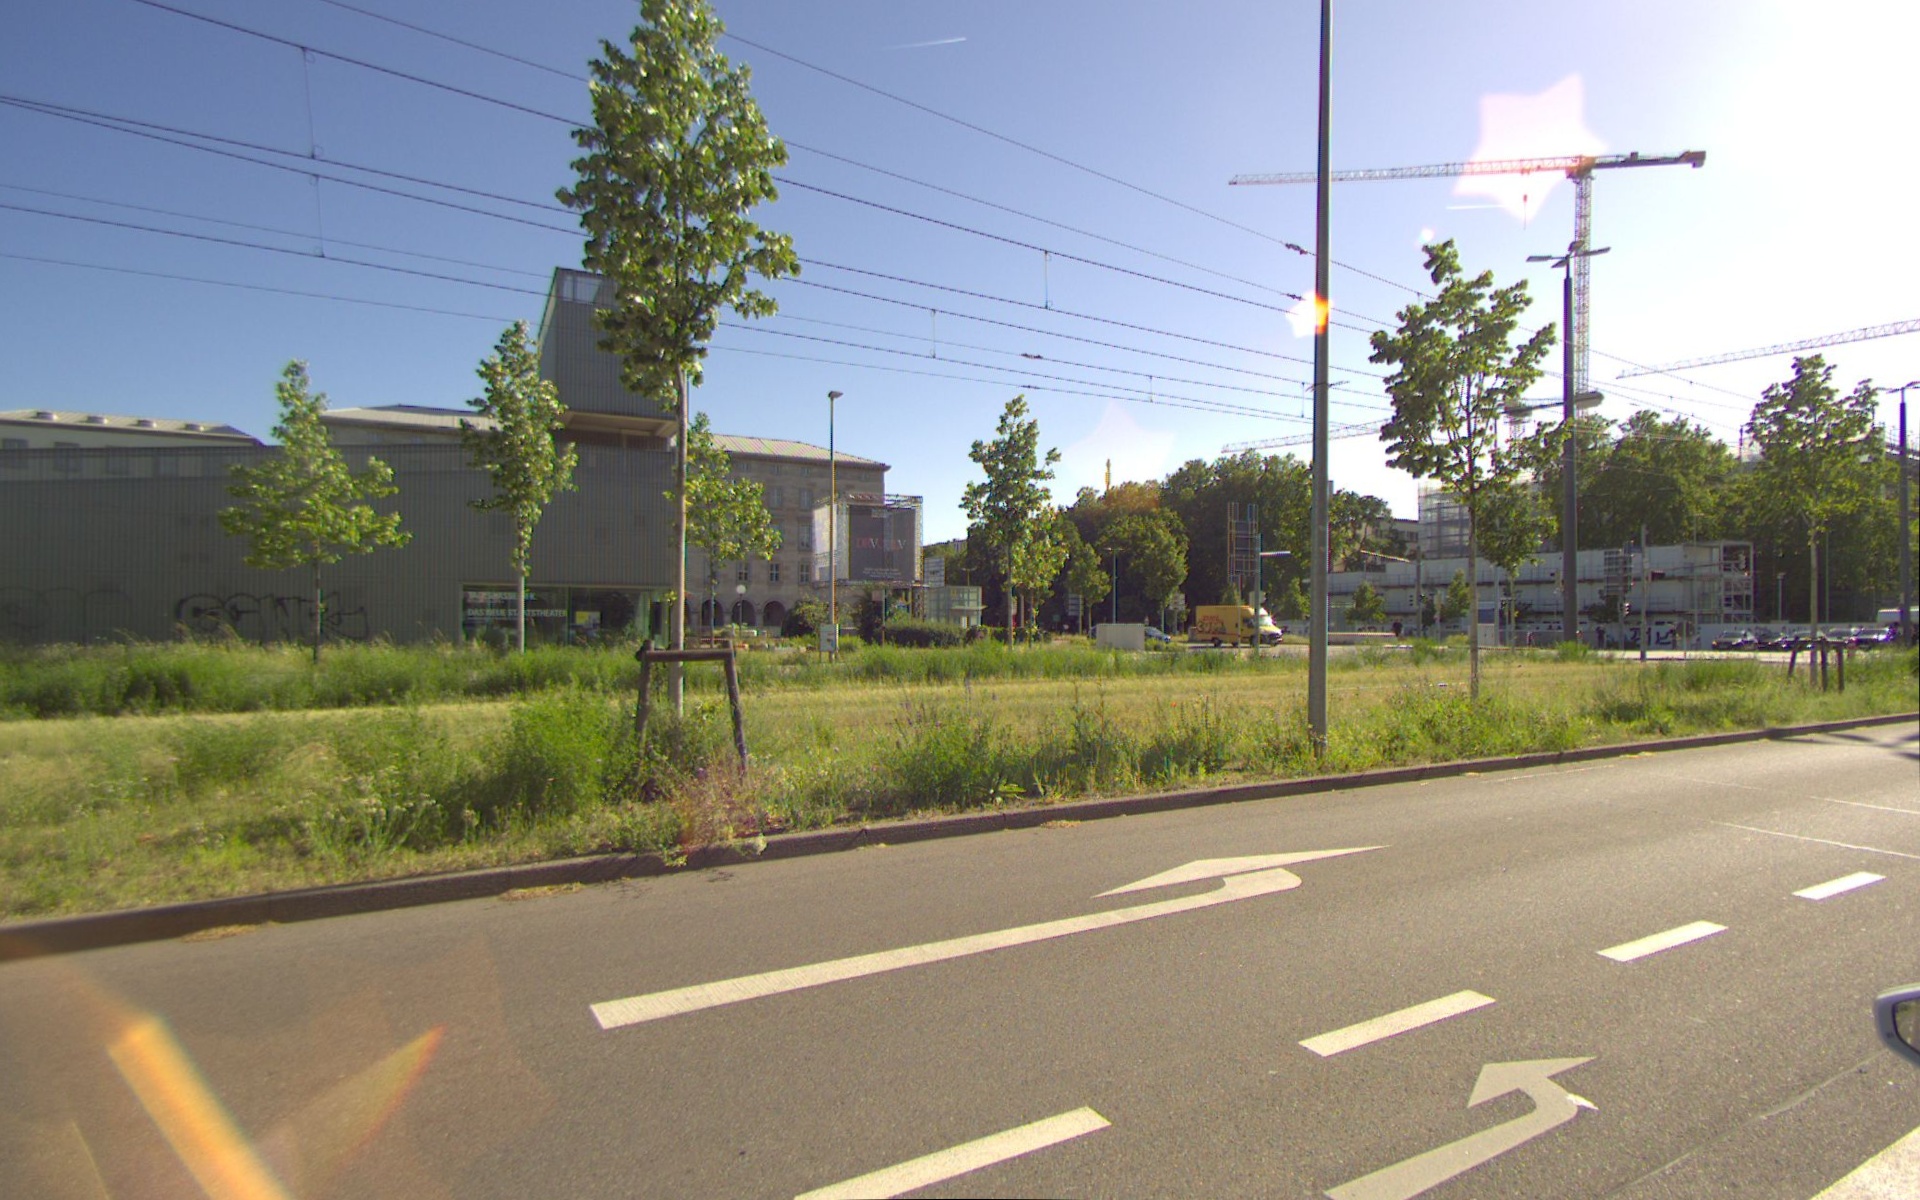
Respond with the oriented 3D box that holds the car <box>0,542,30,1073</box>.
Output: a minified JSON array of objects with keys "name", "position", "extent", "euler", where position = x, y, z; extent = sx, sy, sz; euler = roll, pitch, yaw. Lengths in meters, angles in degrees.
[{"name":"car","position":[-4.407,0.624,1.523],"extent":[4.106,1.644,1.735],"euler":[1,0,-32]}]

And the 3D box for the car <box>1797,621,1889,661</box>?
[{"name":"car","position":[29.145,1.358,33.152],"extent":[3.184,1.194,1.369],"euler":[2,0,-31]}]

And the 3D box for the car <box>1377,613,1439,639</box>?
[{"name":"car","position":[29.092,1.682,65.236],"extent":[3.953,1.577,1.702],"euler":[2,0,-30]}]

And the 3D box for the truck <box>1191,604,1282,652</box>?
[{"name":"truck","position":[19.177,1.899,70.150],"extent":[1.973,3.002,6.941],"euler":[2,0,-25]}]

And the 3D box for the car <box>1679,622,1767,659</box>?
[{"name":"car","position":[26.847,1.422,35.333],"extent":[3.184,1.194,1.369],"euler":[2,0,-31]}]

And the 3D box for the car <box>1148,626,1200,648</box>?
[{"name":"car","position":[15.306,2.614,71.917],"extent":[1.578,1.458,3.975],"euler":[1,-1,-25]}]

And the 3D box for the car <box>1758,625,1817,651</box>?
[{"name":"car","position":[54.998,2.522,66.738],"extent":[3.851,1.634,1.828],"euler":[2,0,-31]}]

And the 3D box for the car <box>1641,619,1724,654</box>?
[{"name":"car","position":[26.955,1.353,37.468],"extent":[3.184,1.194,1.369],"euler":[2,0,-31]}]
